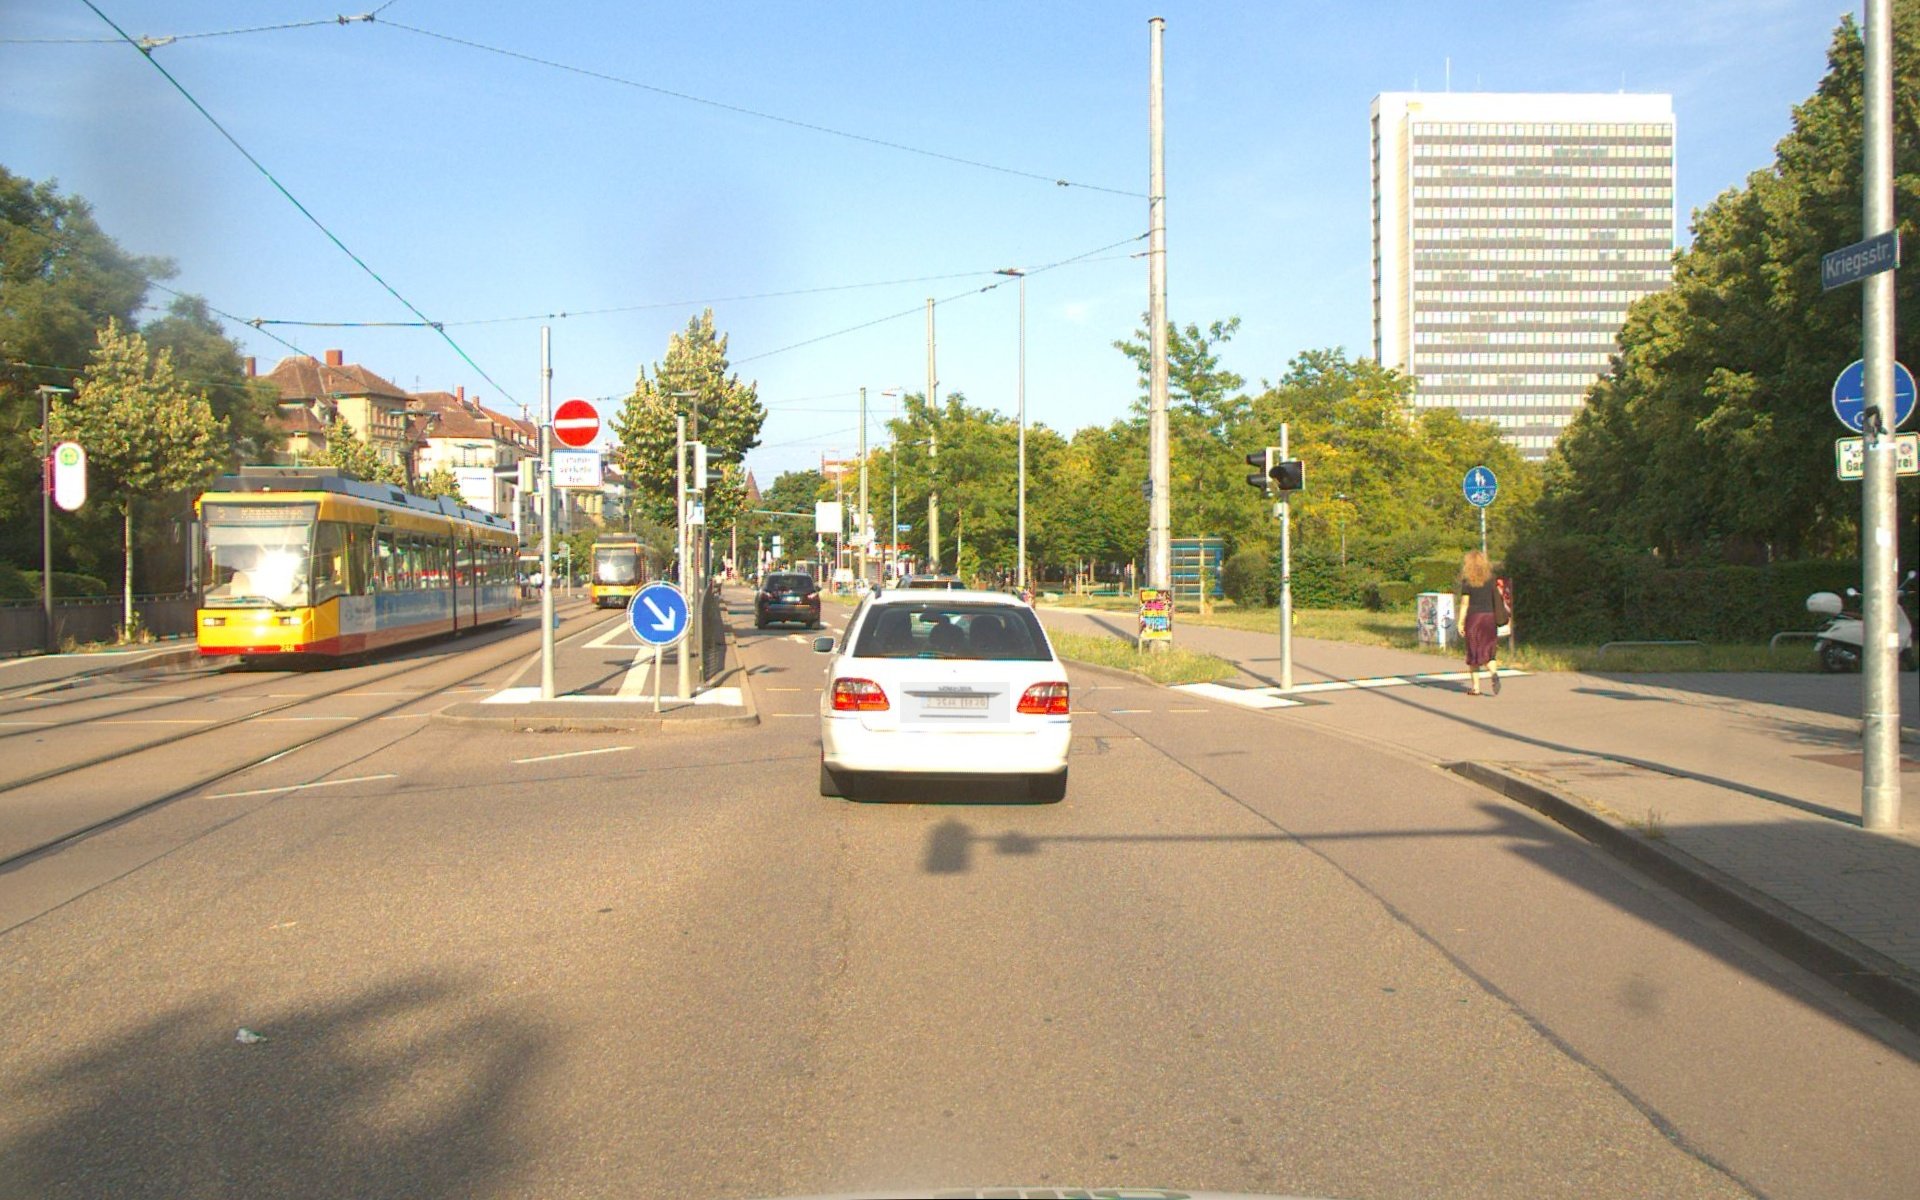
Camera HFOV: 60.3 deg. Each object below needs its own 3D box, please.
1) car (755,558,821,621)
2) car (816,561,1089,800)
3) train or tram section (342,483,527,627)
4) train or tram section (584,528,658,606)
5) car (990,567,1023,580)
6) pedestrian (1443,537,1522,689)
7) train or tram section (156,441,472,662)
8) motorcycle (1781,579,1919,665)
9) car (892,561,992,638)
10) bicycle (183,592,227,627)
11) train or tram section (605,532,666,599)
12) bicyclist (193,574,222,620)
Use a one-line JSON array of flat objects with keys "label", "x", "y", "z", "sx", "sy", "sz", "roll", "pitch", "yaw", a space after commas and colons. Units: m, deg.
[{"label": "car", "x": -4.908, "y": -0.321, "z": 47.523, "sx": 1.752, "sy": 1.719, "sz": 3.997, "roll": 0, "pitch": 1, "yaw": -4}, {"label": "car", "x": -0.213, "y": 0.506, "z": 12.669, "sx": 1.724, "sy": 1.530, "sz": 3.995, "roll": 0, "pitch": 0, "yaw": -6}, {"label": "train or tram section", "x": -14.894, "y": -1.264, "z": 48.179, "sx": 3.104, "sy": 3.540, "sz": 14.441, "roll": 0, "pitch": 1, "yaw": -10}, {"label": "train or tram section", "x": -16.647, "y": -1.663, "z": 81.866, "sx": 2.796, "sy": 3.540, "sz": 13.176, "roll": 1, "pitch": 1, "yaw": -8}, {"label": "car", "x": 6.019, "y": -3.431, "z": 214.360, "sx": 3.955, "sy": 1.679, "sz": 1.975, "roll": -1, "pitch": 1, "yaw": -36}, {"label": "pedestrian", "x": 6.168, "y": 0.147, "z": 19.551, "sx": 0.603, "sy": 1.721, "sz": 0.548, "roll": -5, "pitch": 1, "yaw": -5}, {"label": "train or tram section", "x": -12.546, "y": -0.933, "z": 33.937, "sx": 3.104, "sy": 3.540, "sz": 14.501, "roll": 0, "pitch": 1, "yaw": -10}, {"label": "motorcycle", "x": 12.716, "y": 0.304, "z": 23.432, "sx": 1.962, "sy": 1.180, "sz": 0.705, "roll": 0, "pitch": 1, "yaw": -14}, {"label": "car", "x": -0.462, "y": -0.059, "z": 37.166, "sx": 1.993, "sy": 1.633, "sz": 3.997, "roll": 0, "pitch": 1, "yaw": -5}, {"label": "bicycle", "x": -23.796, "y": 0.298, "z": 52.174, "sx": 0.531, "sy": 1.036, "sz": 2.248, "roll": 0, "pitch": 1, "yaw": -5}, {"label": "train or tram section", "x": -18.434, "y": -1.996, "z": 94.542, "sx": 2.796, "sy": 3.540, "sz": 13.175, "roll": 0, "pitch": 1, "yaw": -8}, {"label": "bicyclist", "x": -23.748, "y": -0.108, "z": 52.189, "sx": 0.638, "sy": 1.438, "sz": 0.716, "roll": 0, "pitch": 1, "yaw": -6}]
